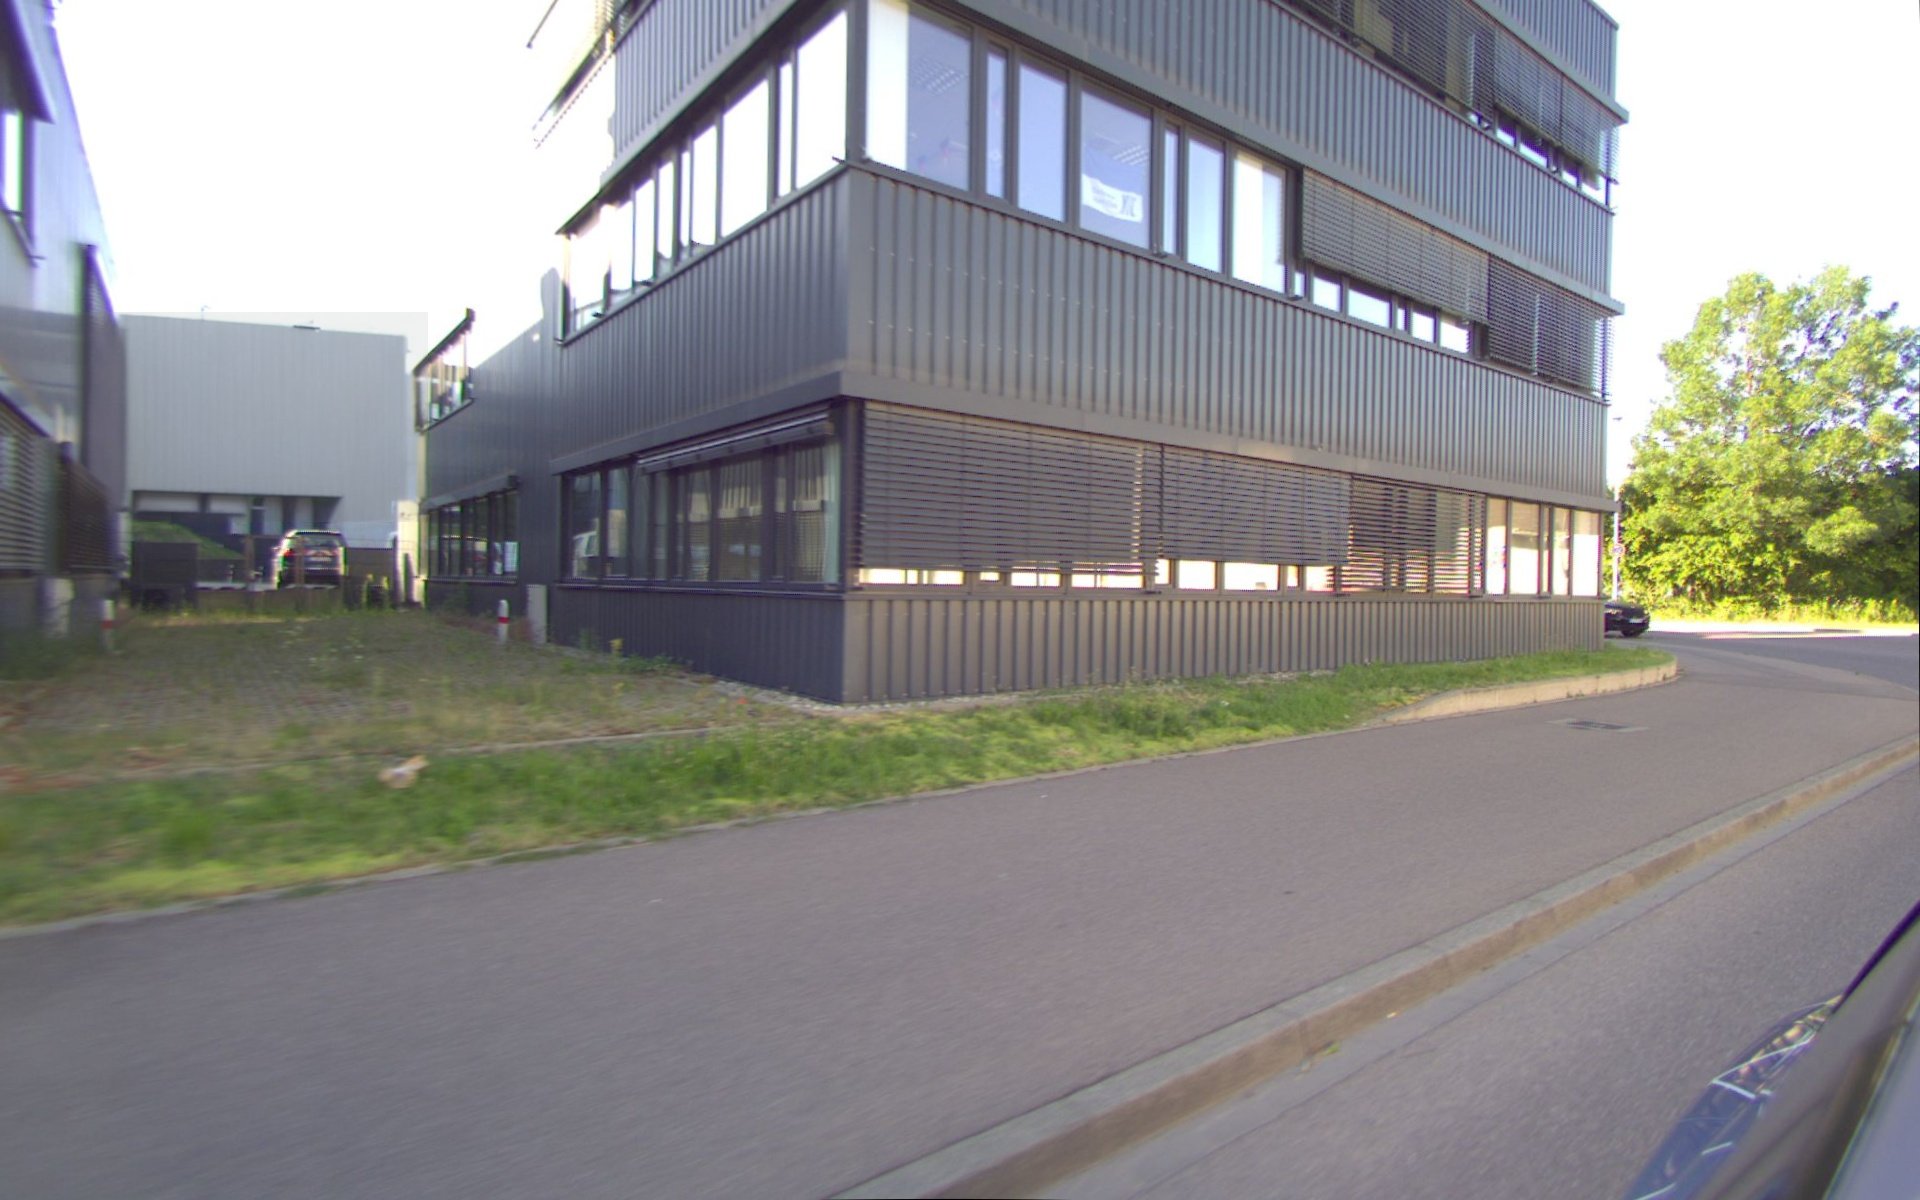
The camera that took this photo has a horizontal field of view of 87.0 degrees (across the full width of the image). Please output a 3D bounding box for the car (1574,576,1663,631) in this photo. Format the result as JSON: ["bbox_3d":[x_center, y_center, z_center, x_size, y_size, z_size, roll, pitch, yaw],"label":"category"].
[{"bbox_3d":[21.733,0.049,33.574,2.020,1.653,4.569,1,2,28],"label":"car"}]

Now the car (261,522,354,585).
[{"bbox_3d":[-18.397,-1.278,28.470,1.795,1.647,3.997,0,2,-39],"label":"car"}]
